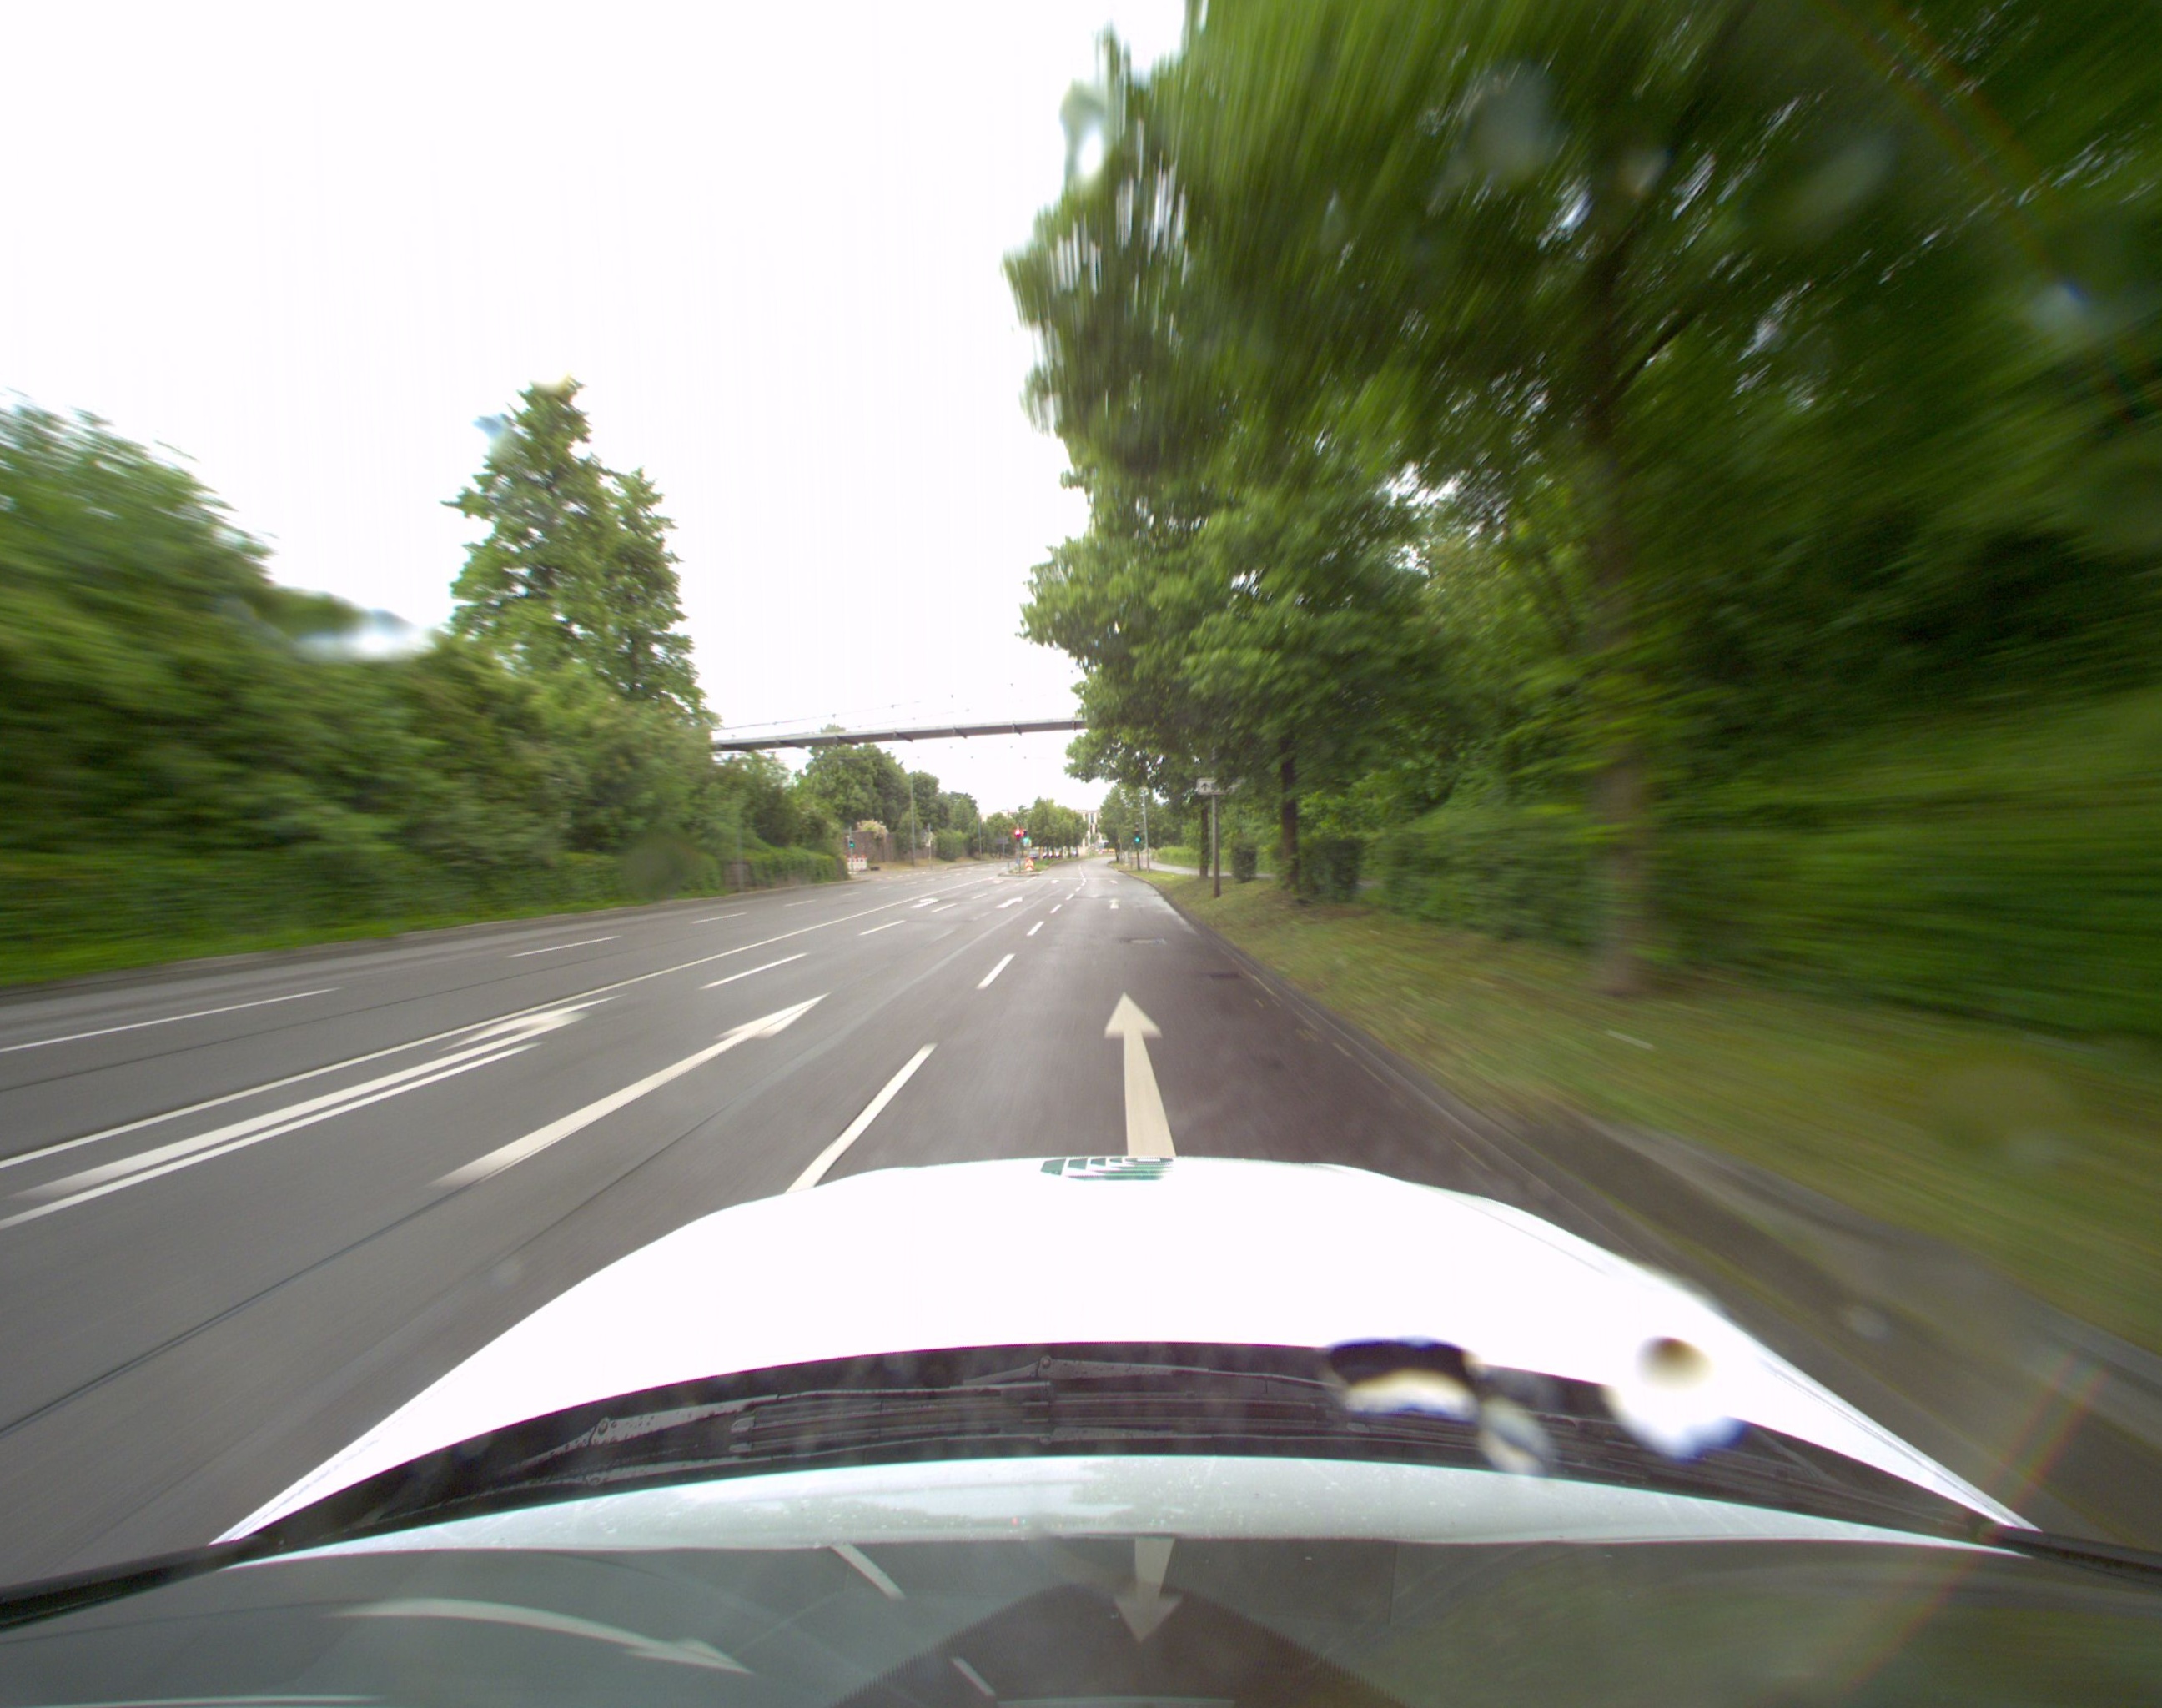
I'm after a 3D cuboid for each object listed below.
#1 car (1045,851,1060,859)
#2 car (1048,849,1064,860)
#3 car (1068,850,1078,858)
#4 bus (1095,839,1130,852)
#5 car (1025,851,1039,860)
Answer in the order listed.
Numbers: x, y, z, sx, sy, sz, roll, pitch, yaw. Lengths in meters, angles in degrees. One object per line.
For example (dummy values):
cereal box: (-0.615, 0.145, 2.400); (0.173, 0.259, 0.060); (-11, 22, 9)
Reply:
car: (-5.421, 0.209, 155.662); (1.870, 1.595, 4.779); (0, 0, 9)
car: (-4.386, 0.114, 143.868); (2.003, 1.919, 5.105); (-1, 0, 7)
car: (-1.721, -0.031, 176.668); (1.676, 1.539, 2.924); (-1, 1, 9)
bus: (9.446, -2.411, 237.951); (2.759, 3.357, 18.335); (-1, -1, 27)
car: (-8.409, 0.276, 139.866); (1.588, 1.489, 4.011); (-1, 0, 9)
